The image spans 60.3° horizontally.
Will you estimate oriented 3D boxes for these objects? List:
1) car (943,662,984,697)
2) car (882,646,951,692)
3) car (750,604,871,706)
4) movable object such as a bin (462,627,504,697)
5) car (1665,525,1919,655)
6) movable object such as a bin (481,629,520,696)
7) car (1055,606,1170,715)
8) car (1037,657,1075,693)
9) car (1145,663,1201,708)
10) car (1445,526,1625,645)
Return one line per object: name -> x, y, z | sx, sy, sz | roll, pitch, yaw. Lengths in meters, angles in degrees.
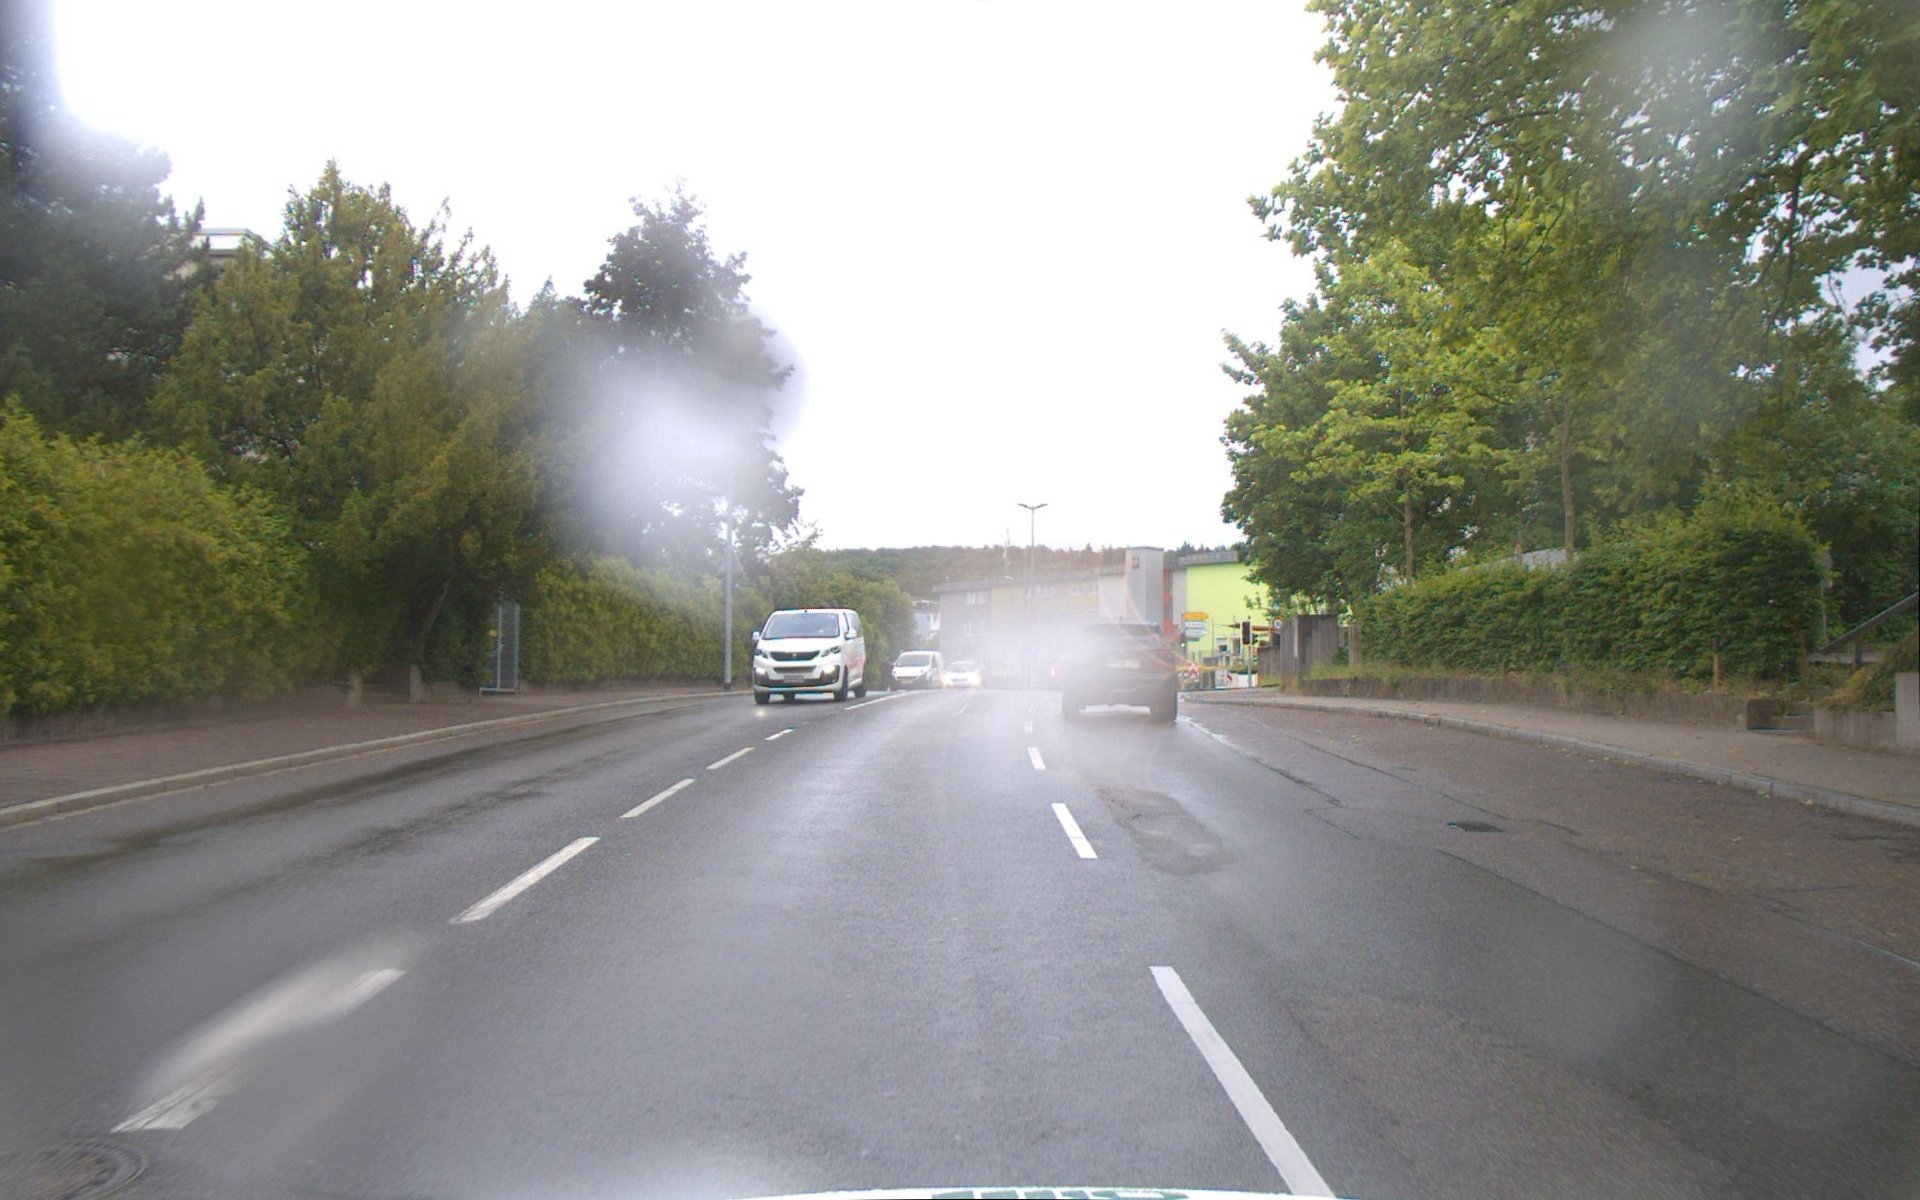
car -> 0.195, 3.913, 81.198 | 1.600, 1.607, 4.058 | -3, -3, 4
car -> -1.768, 2.912, 69.163 | 1.665, 1.738, 3.980 | 2, -3, 17
car -> -3.083, 1.130, 35.132 | 1.824, 1.950, 5.030 | -2, -1, 3
movable object such as a bin -> -9.443, 1.226, 32.781 | 0.536, 1.349, 0.806 | 1, -1, 2
car -> 16.282, -0.223, 32.659 | 2.006, 2.324, 5.009 | 2, 1, -8
movable object such as a bin -> -9.460, 1.273, 34.072 | 0.536, 1.349, 0.806 | 1, -1, 2
car -> 2.558, 0.931, 27.454 | 1.752, 1.631, 4.256 | 0, 0, 6
car -> 4.455, 3.472, 77.052 | 1.647, 1.532, 3.774 | 2, -2, 2
car -> 7.997, 3.169, 61.881 | 1.951, 1.467, 4.003 | 1, -1, 9
car -> 11.841, -0.317, 34.347 | 1.955, 2.265, 4.129 | 1, 1, -5
